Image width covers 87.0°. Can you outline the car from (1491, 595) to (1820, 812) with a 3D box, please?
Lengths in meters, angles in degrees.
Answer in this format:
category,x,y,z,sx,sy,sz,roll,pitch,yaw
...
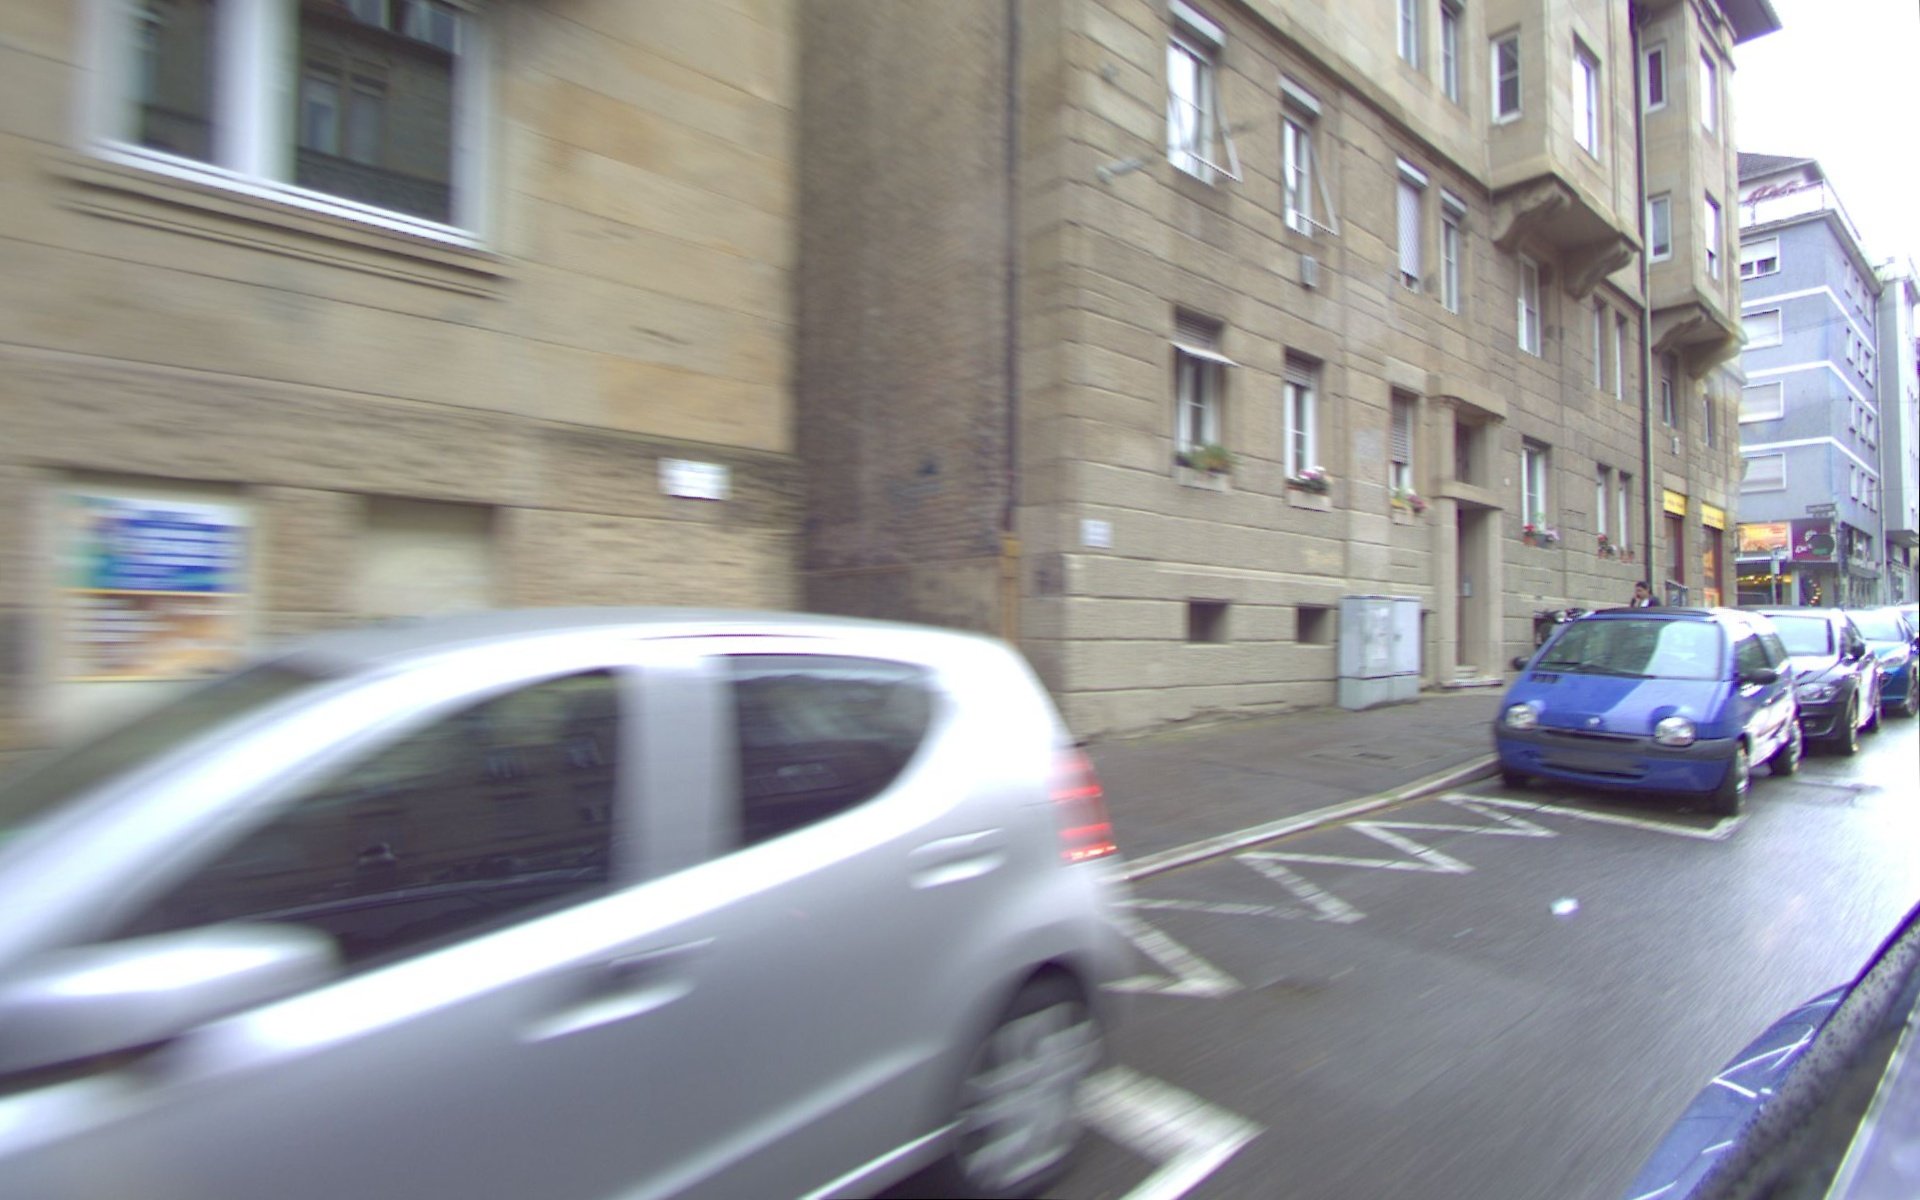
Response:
category,x,y,z,sx,sy,sz,roll,pitch,yaw
car,5.870,0.675,8.406,3.387,1.433,1.545,0,0,-43

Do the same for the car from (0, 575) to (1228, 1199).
category,x,y,z,sx,sy,sz,roll,pitch,yaw
car,-1.068,0.685,2.316,3.622,1.452,1.592,0,1,-43

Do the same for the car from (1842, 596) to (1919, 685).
category,x,y,z,sx,sy,sz,roll,pitch,yaw
car,16.935,0.665,17.845,4.412,1.404,1.756,0,2,-45

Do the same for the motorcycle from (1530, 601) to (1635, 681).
category,x,y,z,sx,sy,sz,roll,pitch,yaw
motorcycle,10.269,0.632,16.641,2.698,1.214,0.706,0,0,-41

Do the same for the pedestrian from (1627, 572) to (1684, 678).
category,x,y,z,sx,sy,sz,roll,pitch,yaw
pedestrian,10.533,0.368,15.327,0.697,1.555,0.562,0,-1,-41

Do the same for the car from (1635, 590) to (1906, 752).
category,x,y,z,sx,sy,sz,roll,pitch,yaw
car,9.142,0.643,11.297,4.014,1.481,1.789,0,0,-43

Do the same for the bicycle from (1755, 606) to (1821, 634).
category,x,y,z,sx,sy,sz,roll,pitch,yaw
bicycle,29.711,0.703,36.323,0.524,0.985,1.752,0,-1,-39

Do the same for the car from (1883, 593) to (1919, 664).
category,x,y,z,sx,sy,sz,roll,pitch,yaw
car,21.470,0.612,21.972,3.724,1.462,1.674,0,1,-41

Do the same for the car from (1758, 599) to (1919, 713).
category,x,y,z,sx,sy,sz,roll,pitch,yaw
car,12.903,0.691,14.498,3.950,1.416,1.709,0,0,-43
